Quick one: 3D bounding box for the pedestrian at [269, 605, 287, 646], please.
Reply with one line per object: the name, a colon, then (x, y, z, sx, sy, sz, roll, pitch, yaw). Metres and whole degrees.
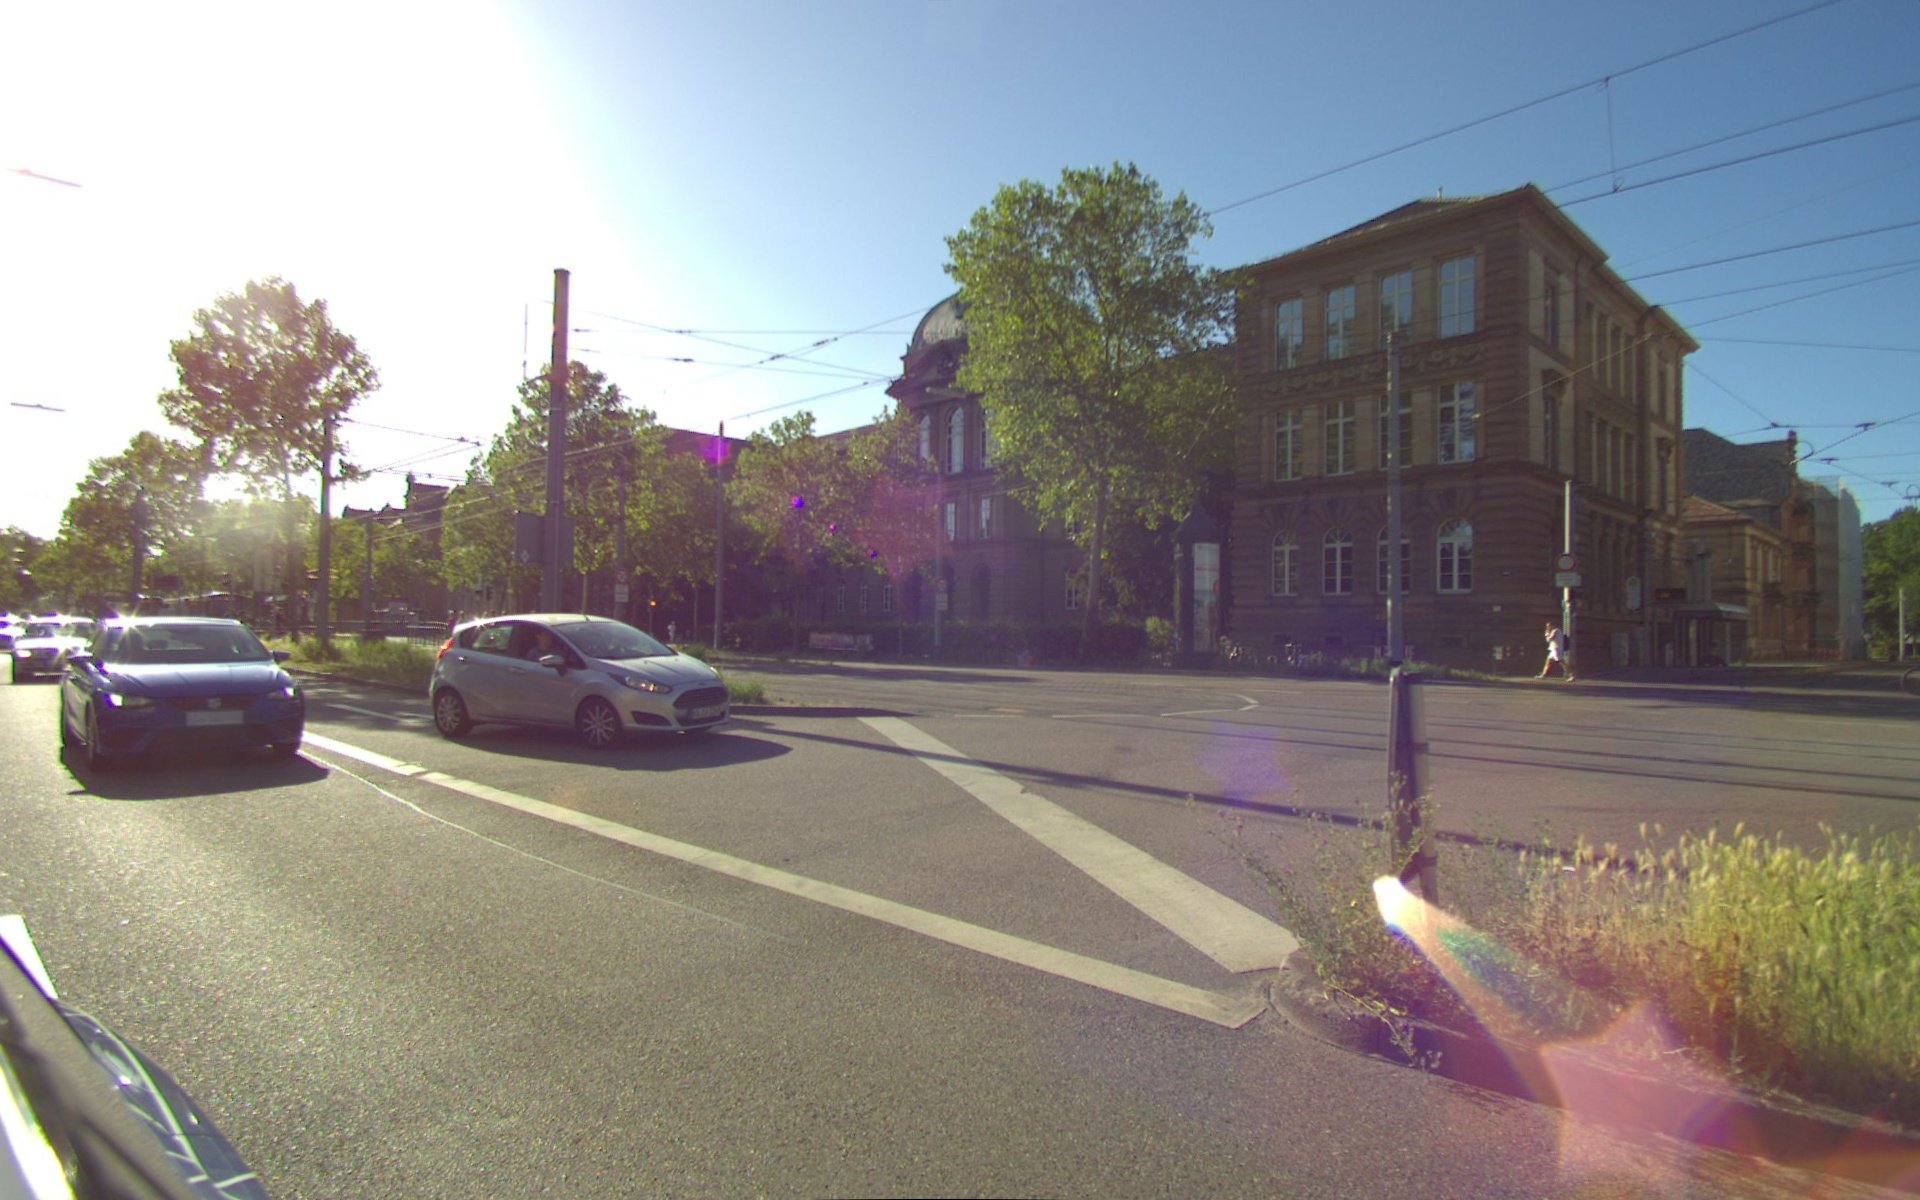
pedestrian: (-28.297, 1.042, 41.972, 0.536, 1.674, 0.731, -1, 0, -39)

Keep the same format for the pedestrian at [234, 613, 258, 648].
pedestrian: (-25.810, 1.097, 36.586, 0.424, 1.242, 0.587, -1, 0, 36)

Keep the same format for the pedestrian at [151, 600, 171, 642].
pedestrian: (-39.672, 1.026, 50.231, 0.701, 2.029, 0.788, -1, 0, -43)

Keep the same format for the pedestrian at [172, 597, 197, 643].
pedestrian: (-37.676, 0.955, 49.163, 0.773, 2.204, 0.803, -1, 0, -24)

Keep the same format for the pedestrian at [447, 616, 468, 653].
pedestrian: (-23.658, 1.617, 47.647, 0.693, 1.689, 0.591, -1, 0, 14)

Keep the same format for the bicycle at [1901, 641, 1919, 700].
bicycle: (24.223, 1.718, 24.294, 2.348, 1.400, 0.520, 0, 0, 39)

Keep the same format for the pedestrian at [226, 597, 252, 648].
pedestrian: (-26.291, 0.815, 36.907, 0.503, 1.820, 0.639, -1, 0, 36)

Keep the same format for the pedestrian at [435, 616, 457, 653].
pedestrian: (-24.665, 1.666, 48.562, 0.693, 1.758, 0.591, -1, 0, 14)

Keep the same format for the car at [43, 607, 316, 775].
car: (-8.494, 0.826, 10.895, 3.869, 1.459, 1.754, -1, 0, 43)

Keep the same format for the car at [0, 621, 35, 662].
car: (-39.889, 1.708, 42.136, 1.748, 1.588, 3.830, -1, 0, -38)

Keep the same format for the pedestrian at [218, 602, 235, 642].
pedestrian: (-31.335, 0.946, 43.257, 0.571, 1.674, 0.668, 0, 0, -35)

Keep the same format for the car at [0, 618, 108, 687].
car: (-21.507, 1.170, 23.962, 1.773, 1.439, 4.003, -1, 0, -44)

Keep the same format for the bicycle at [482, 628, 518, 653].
bicycle: (-20.580, 1.798, 45.297, 0.539, 1.049, 1.656, 0, 1, 14)

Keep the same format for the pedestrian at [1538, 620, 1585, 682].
pedestrian: (18.109, 1.513, 30.471, 0.852, 1.814, 1.003, -1, 0, -43)

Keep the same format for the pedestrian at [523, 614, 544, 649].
pedestrian: (-20.066, 1.472, 47.575, 0.693, 1.633, 0.591, -1, 0, 14)

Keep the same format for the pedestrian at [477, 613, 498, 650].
pedestrian: (-22.573, 1.492, 48.326, 0.693, 1.749, 0.591, -1, 0, 14)

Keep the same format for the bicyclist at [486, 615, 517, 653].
bicyclist: (-20.527, 1.512, 45.298, 0.827, 1.656, 0.964, -1, 0, 13)

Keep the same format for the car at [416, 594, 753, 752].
car: (-4.470, 0.748, 11.955, 3.847, 1.607, 1.651, 0, 0, 29)

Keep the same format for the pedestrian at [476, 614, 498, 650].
pedestrian: (-22.029, 1.479, 47.123, 0.692, 1.656, 0.592, -1, 0, 10)
